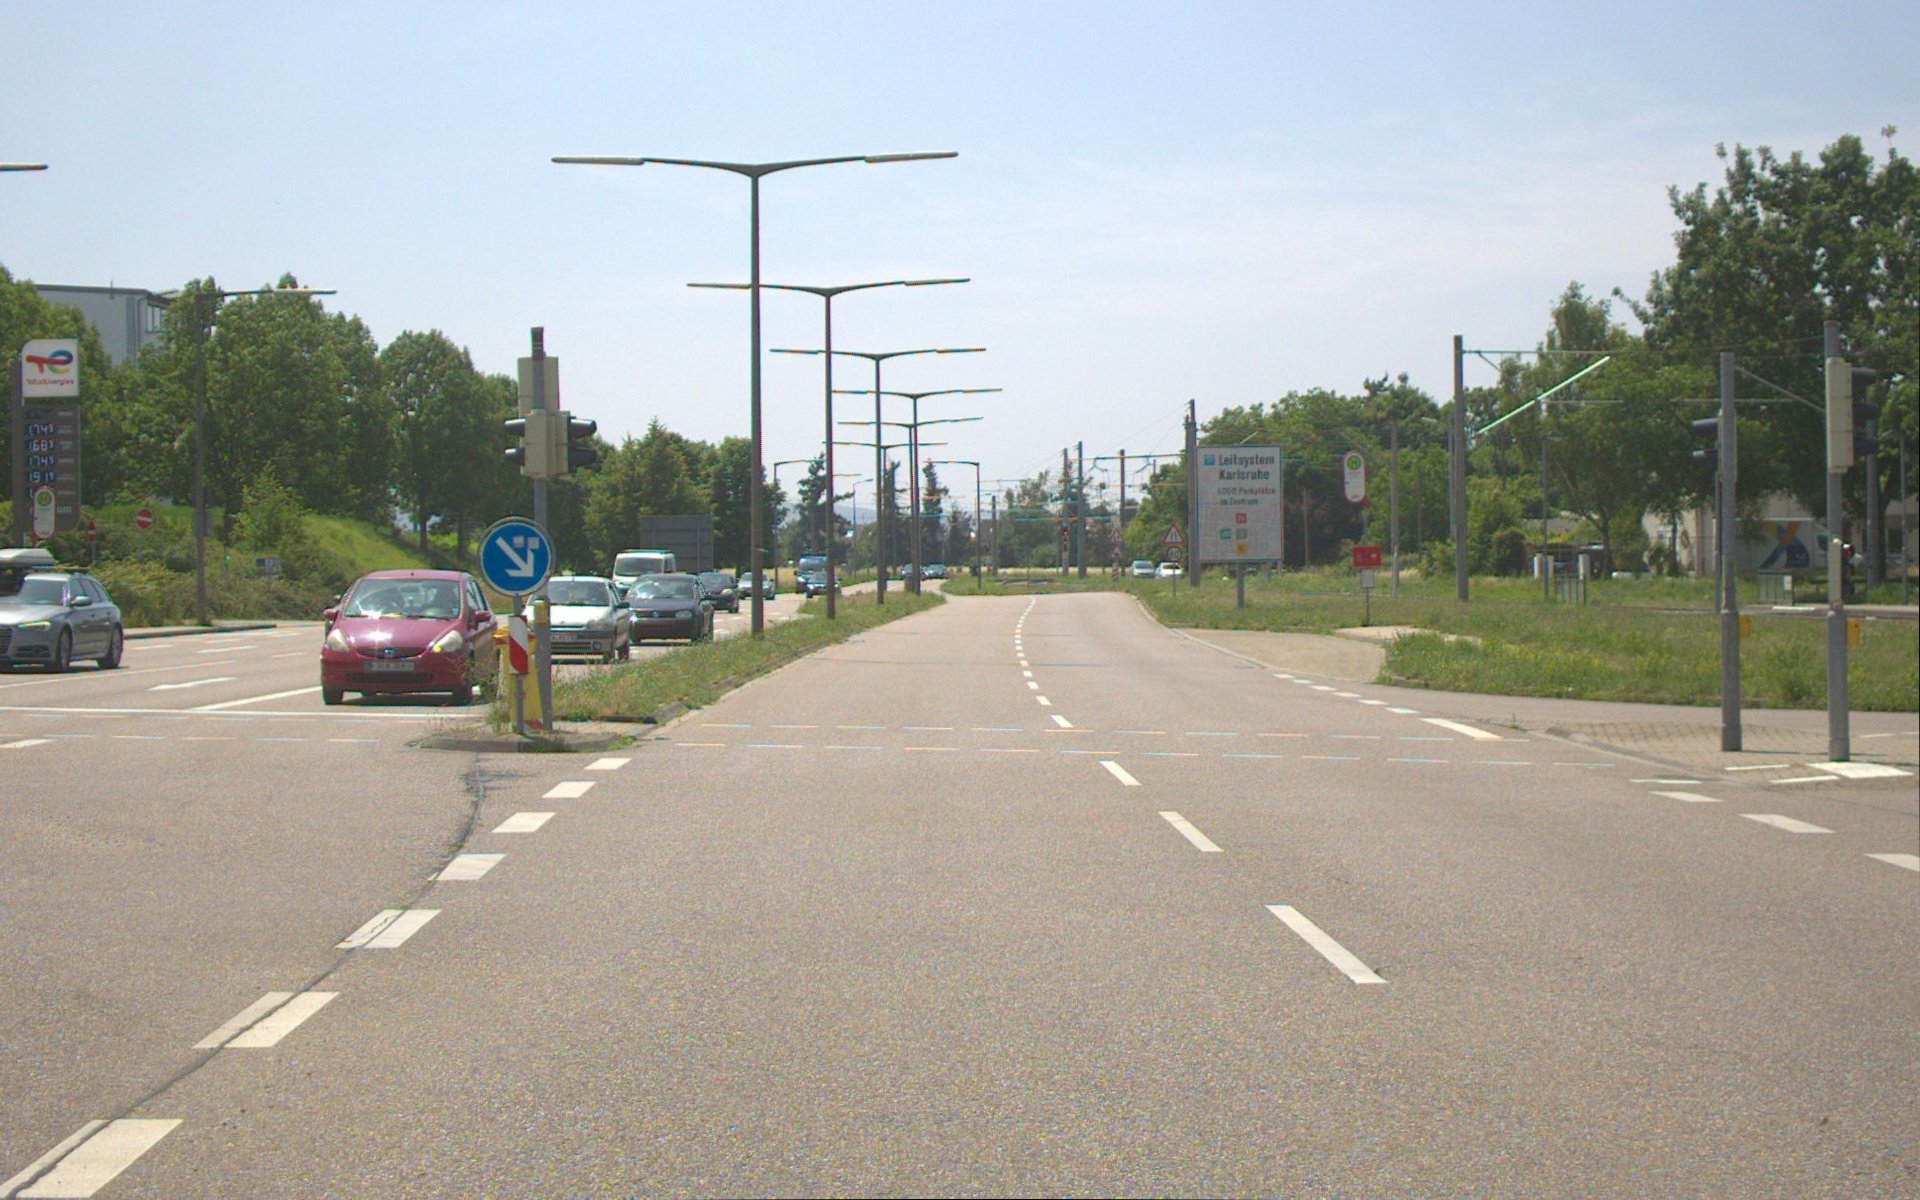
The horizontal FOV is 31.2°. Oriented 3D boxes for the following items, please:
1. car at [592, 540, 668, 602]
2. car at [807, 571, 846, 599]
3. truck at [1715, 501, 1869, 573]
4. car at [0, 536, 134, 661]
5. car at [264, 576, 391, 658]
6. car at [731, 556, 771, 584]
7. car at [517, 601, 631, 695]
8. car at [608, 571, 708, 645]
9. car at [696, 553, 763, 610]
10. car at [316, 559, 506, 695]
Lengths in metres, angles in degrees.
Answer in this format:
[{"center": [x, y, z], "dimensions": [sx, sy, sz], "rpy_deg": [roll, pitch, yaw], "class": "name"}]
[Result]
[{"center": [-12.538, -1.103, 130.921], "dimensions": [2.249, 2.265, 5.449], "rpy_deg": [1, 0, 1], "class": "car"}, {"center": [-7.414, -0.848, 191.005], "dimensions": [1.731, 1.453, 4.564], "rpy_deg": [-1, 1, 3], "class": "car"}, {"center": [35.474, -2.690, 146.683], "dimensions": [5.839, 2.833, 2.321], "rpy_deg": [-2, 0, -7], "class": "truck"}, {"center": [-13.672, -0.047, 50.498], "dimensions": [1.964, 1.744, 5.022], "rpy_deg": [0, 1, -1], "class": "car"}, {"center": [-11.239, 0.277, 61.274], "dimensions": [1.596, 1.380, 4.004], "rpy_deg": [1, 1, -1], "class": "car"}, {"center": [-11.045, -1.573, 181.579], "dimensions": [1.831, 1.444, 4.851], "rpy_deg": [-1, 1, 0], "class": "car"}, {"center": [-6.393, 0.770, 57.225], "dimensions": [1.560, 1.418, 3.854], "rpy_deg": [0, 1, -1], "class": "car"}, {"center": [-6.049, 0.144, 69.229], "dimensions": [1.675, 1.429, 4.191], "rpy_deg": [0, 1, -1], "class": "car"}, {"center": [-8.274, -0.648, 123.522], "dimensions": [1.993, 2.007, 4.000], "rpy_deg": [1, 0, 2], "class": "car"}, {"center": [-6.348, 0.274, 40.105], "dimensions": [1.658, 1.485, 4.000], "rpy_deg": [0, 1, -1], "class": "car"}]
